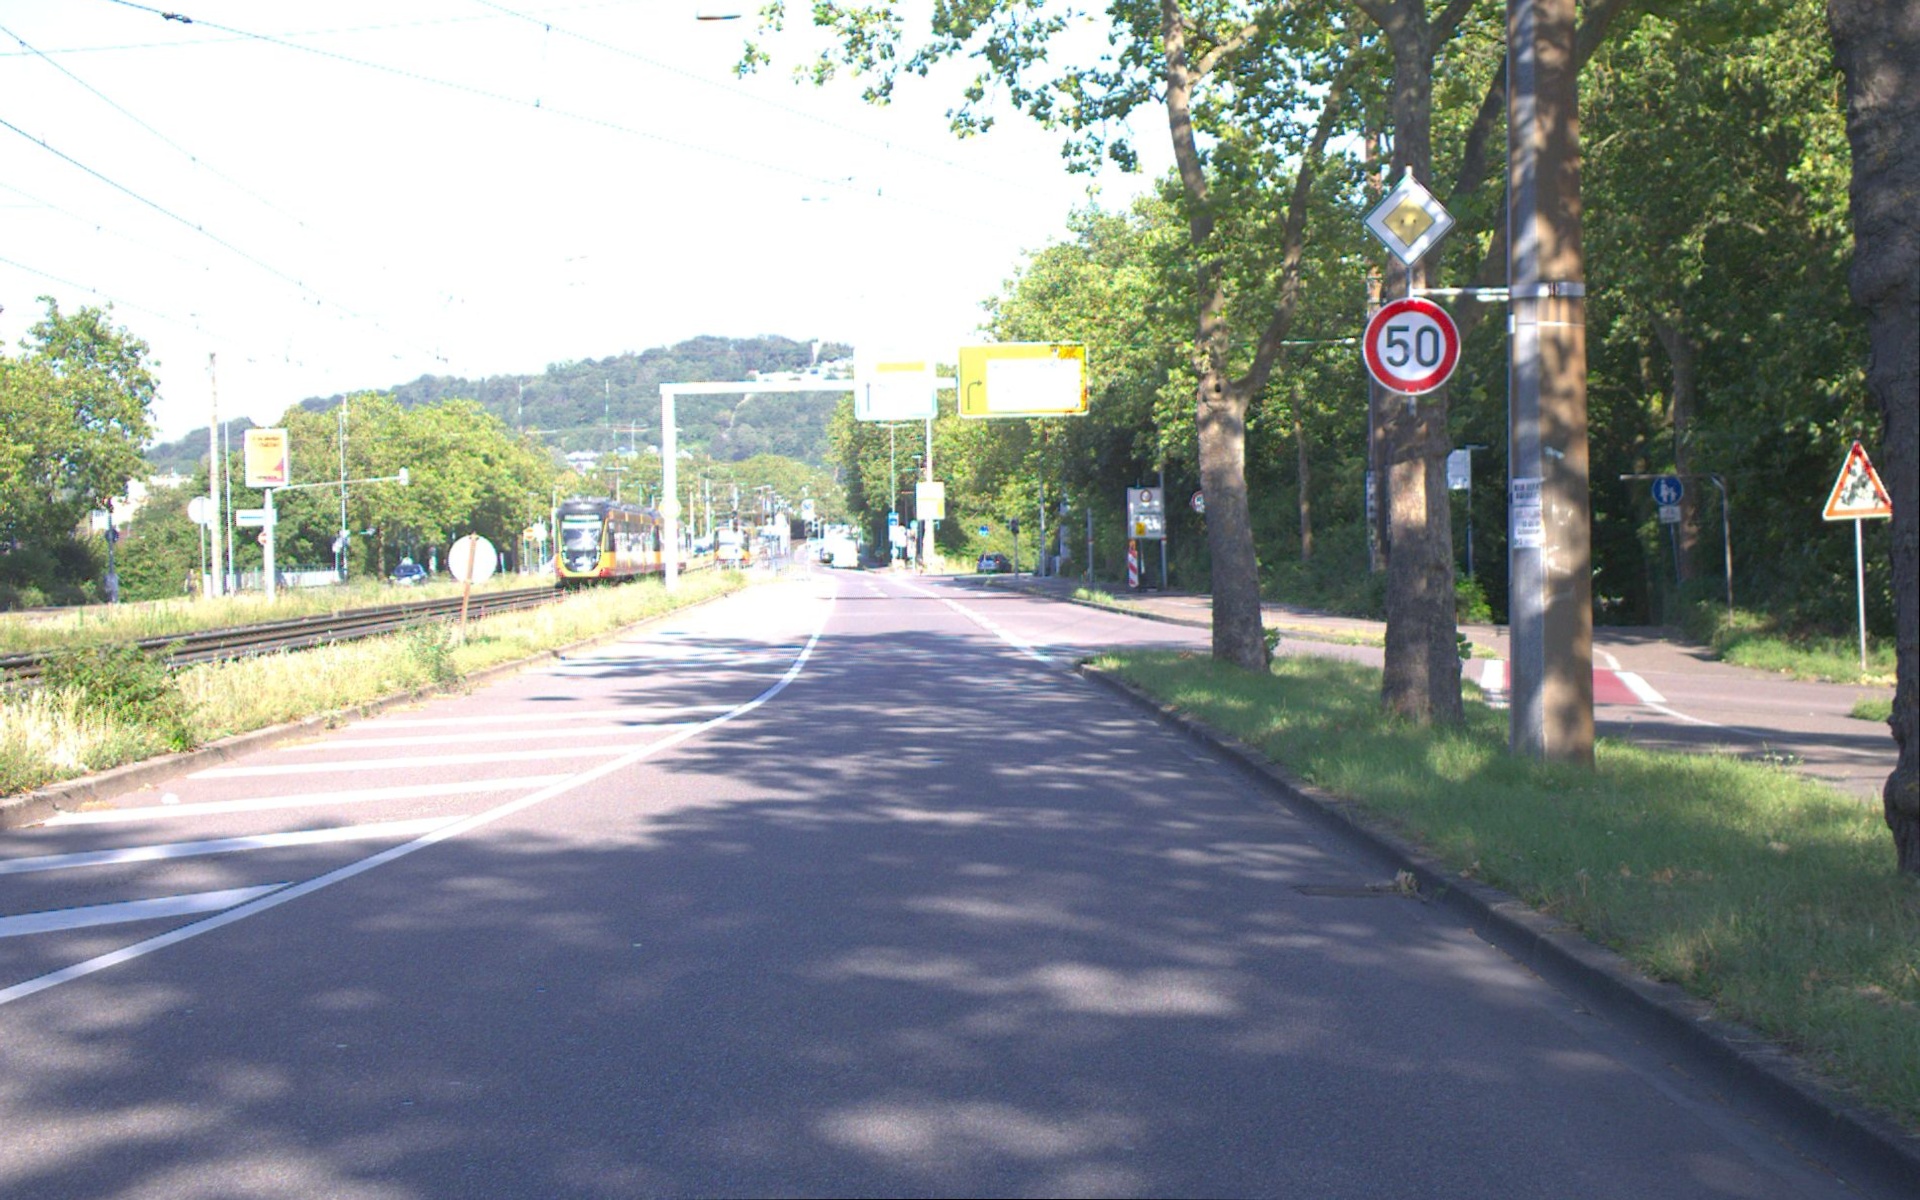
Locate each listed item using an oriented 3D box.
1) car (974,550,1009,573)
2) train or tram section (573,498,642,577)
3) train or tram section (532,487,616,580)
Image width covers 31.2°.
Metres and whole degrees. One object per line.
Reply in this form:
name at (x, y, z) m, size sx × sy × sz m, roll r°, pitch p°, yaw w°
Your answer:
car at (2.155, -2.581, 231.867) m, size 2.086 × 1.560 × 3.955 m, roll 0°, pitch 1°, yaw 4°
train or tram section at (-17.900, -3.159, 175.043) m, size 2.804 × 3.889 × 11.814 m, roll 0°, pitch 1°, yaw -2°
train or tram section at (-16.873, -2.865, 150.986) m, size 2.804 × 3.889 × 12.334 m, roll 0°, pitch 1°, yaw -2°
